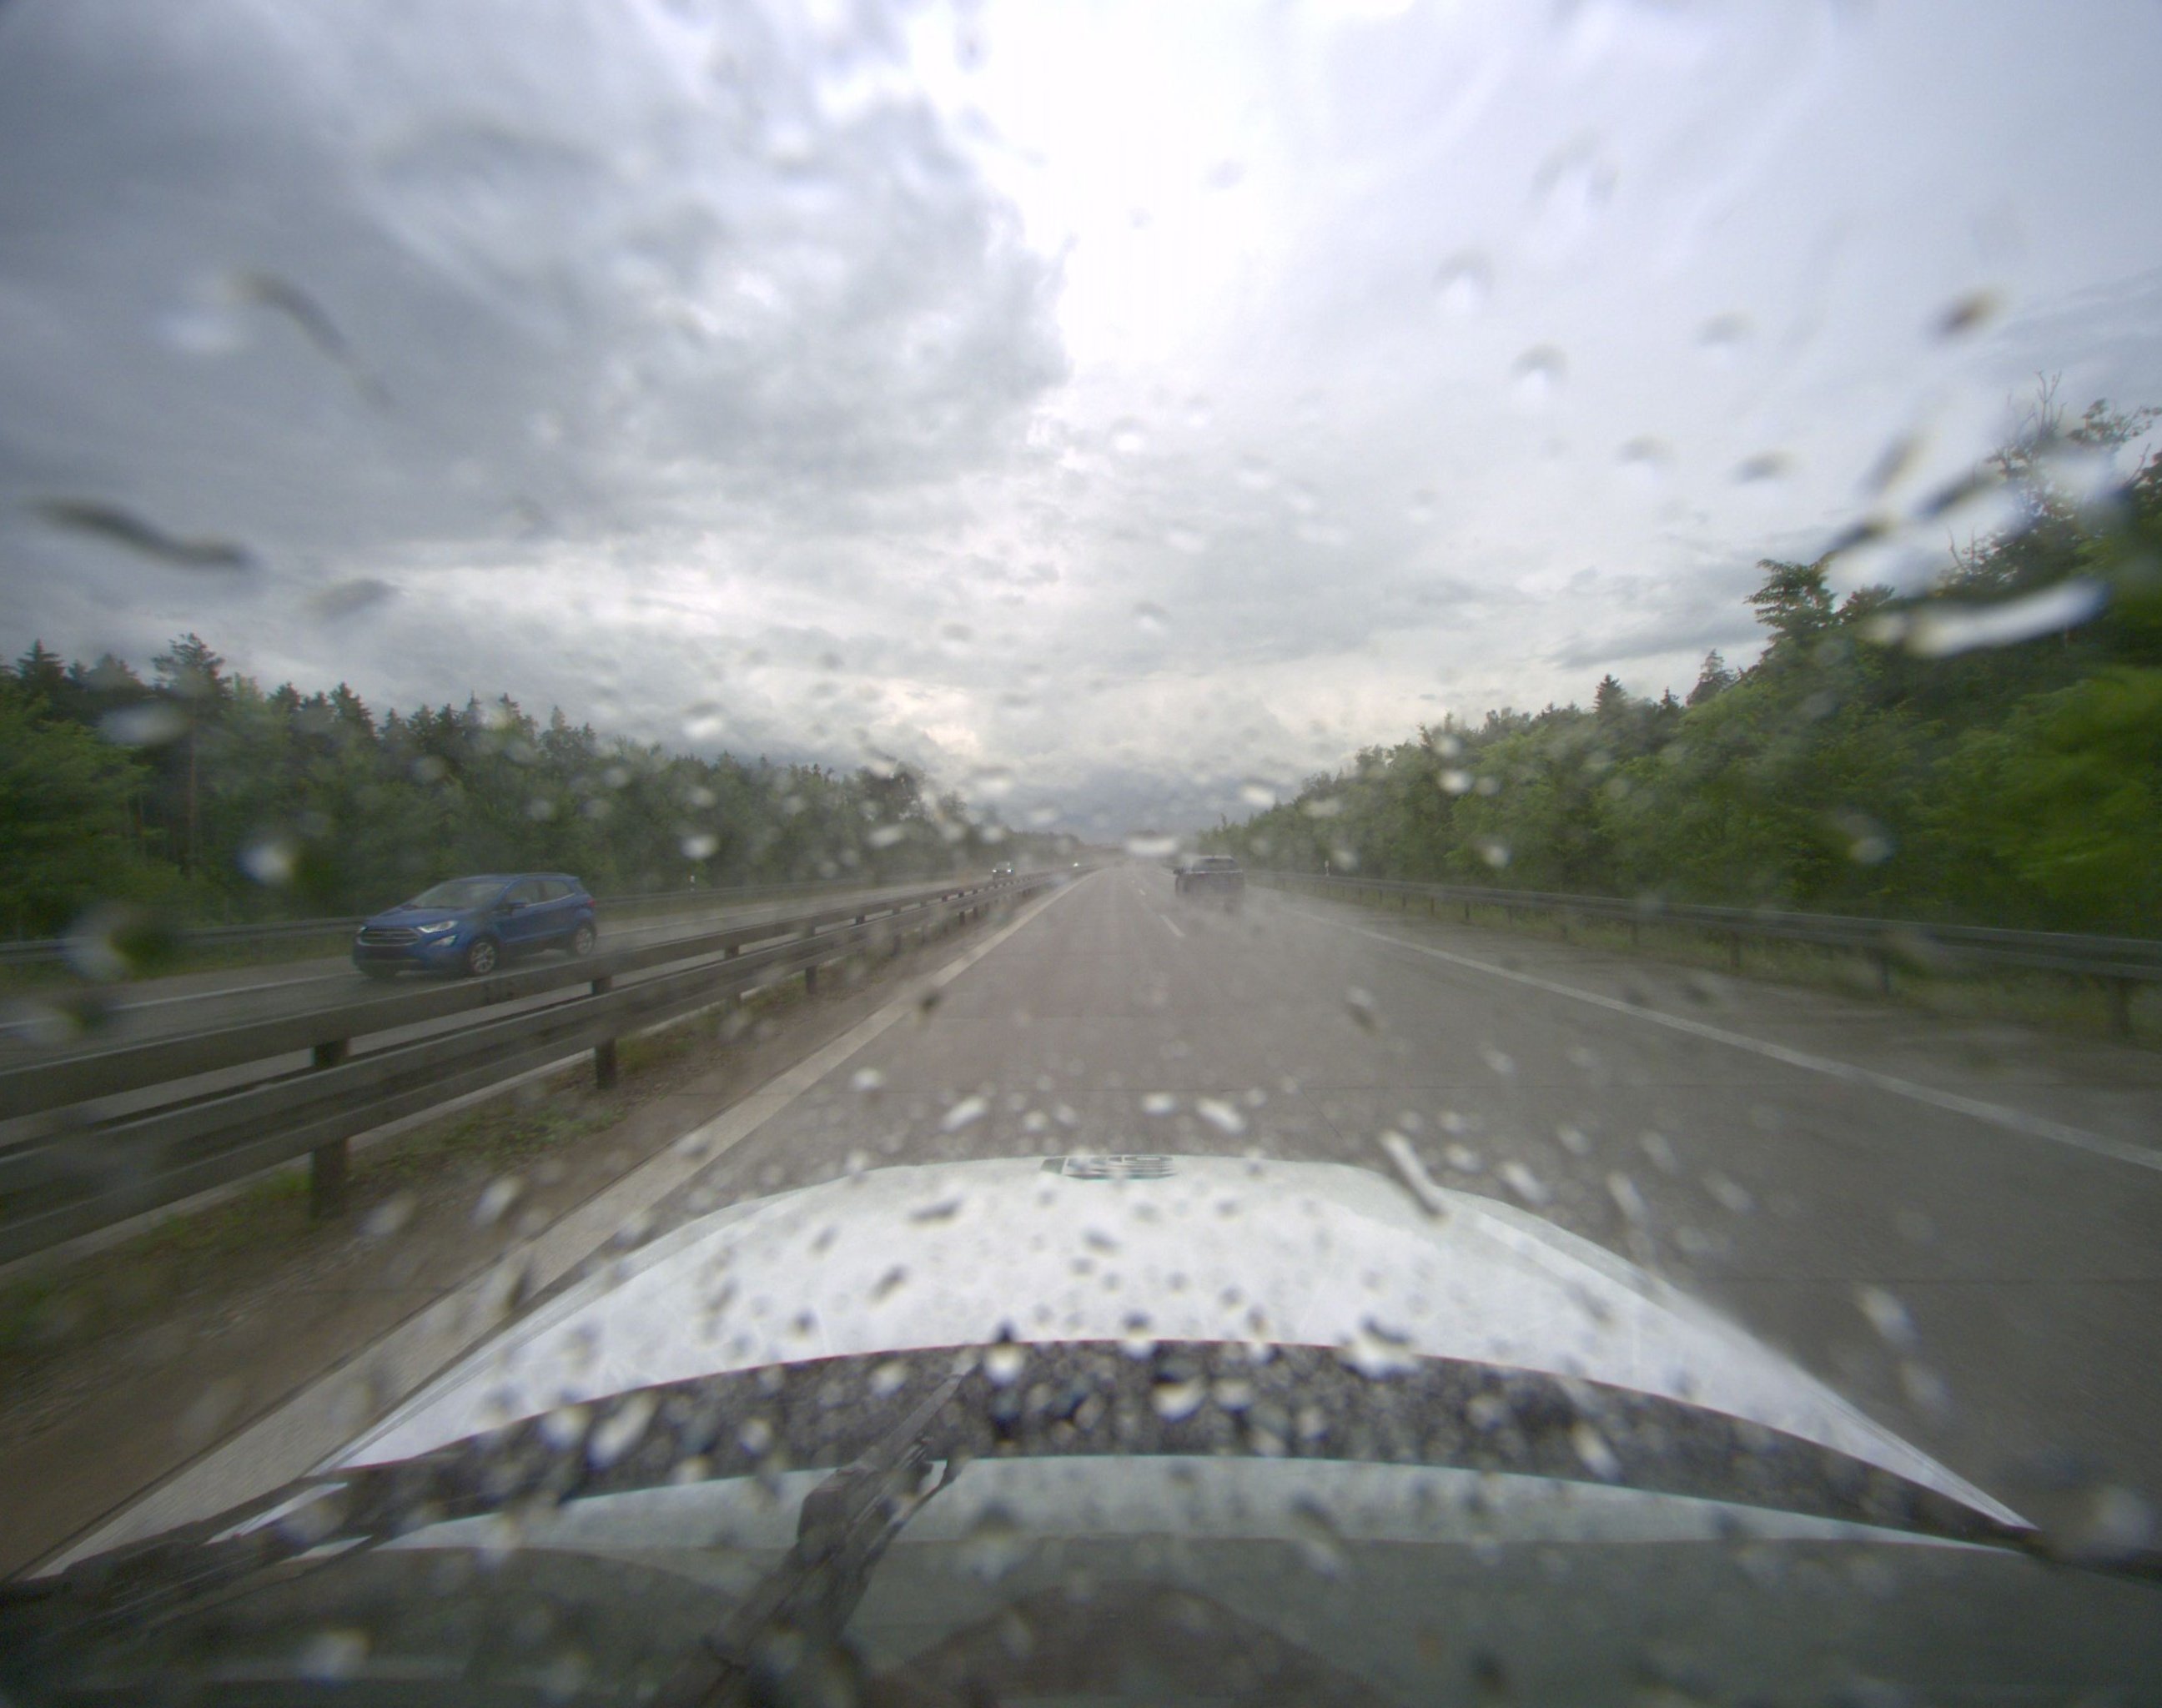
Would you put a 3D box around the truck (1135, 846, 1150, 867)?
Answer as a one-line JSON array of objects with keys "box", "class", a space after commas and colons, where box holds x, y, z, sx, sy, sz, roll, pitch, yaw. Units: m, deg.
[{"box": [13.888, 0.587, 184.497, 3.229, 4.437, 8.255, -1, -1, 4], "class": "truck"}]

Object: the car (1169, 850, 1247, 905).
[{"box": [3.879, 0.726, 25.418, 1.888, 1.576, 3.631, 0, -1, 0], "class": "car"}]

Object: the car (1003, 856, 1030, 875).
[{"box": [-6.011, 1.081, 76.500, 1.987, 1.598, 4.791, -3, 0, 1], "class": "car"}]

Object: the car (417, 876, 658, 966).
[{"box": [-10.524, 1.224, 16.245, 1.895, 1.499, 4.221, -1, -1, 1], "class": "car"}]
